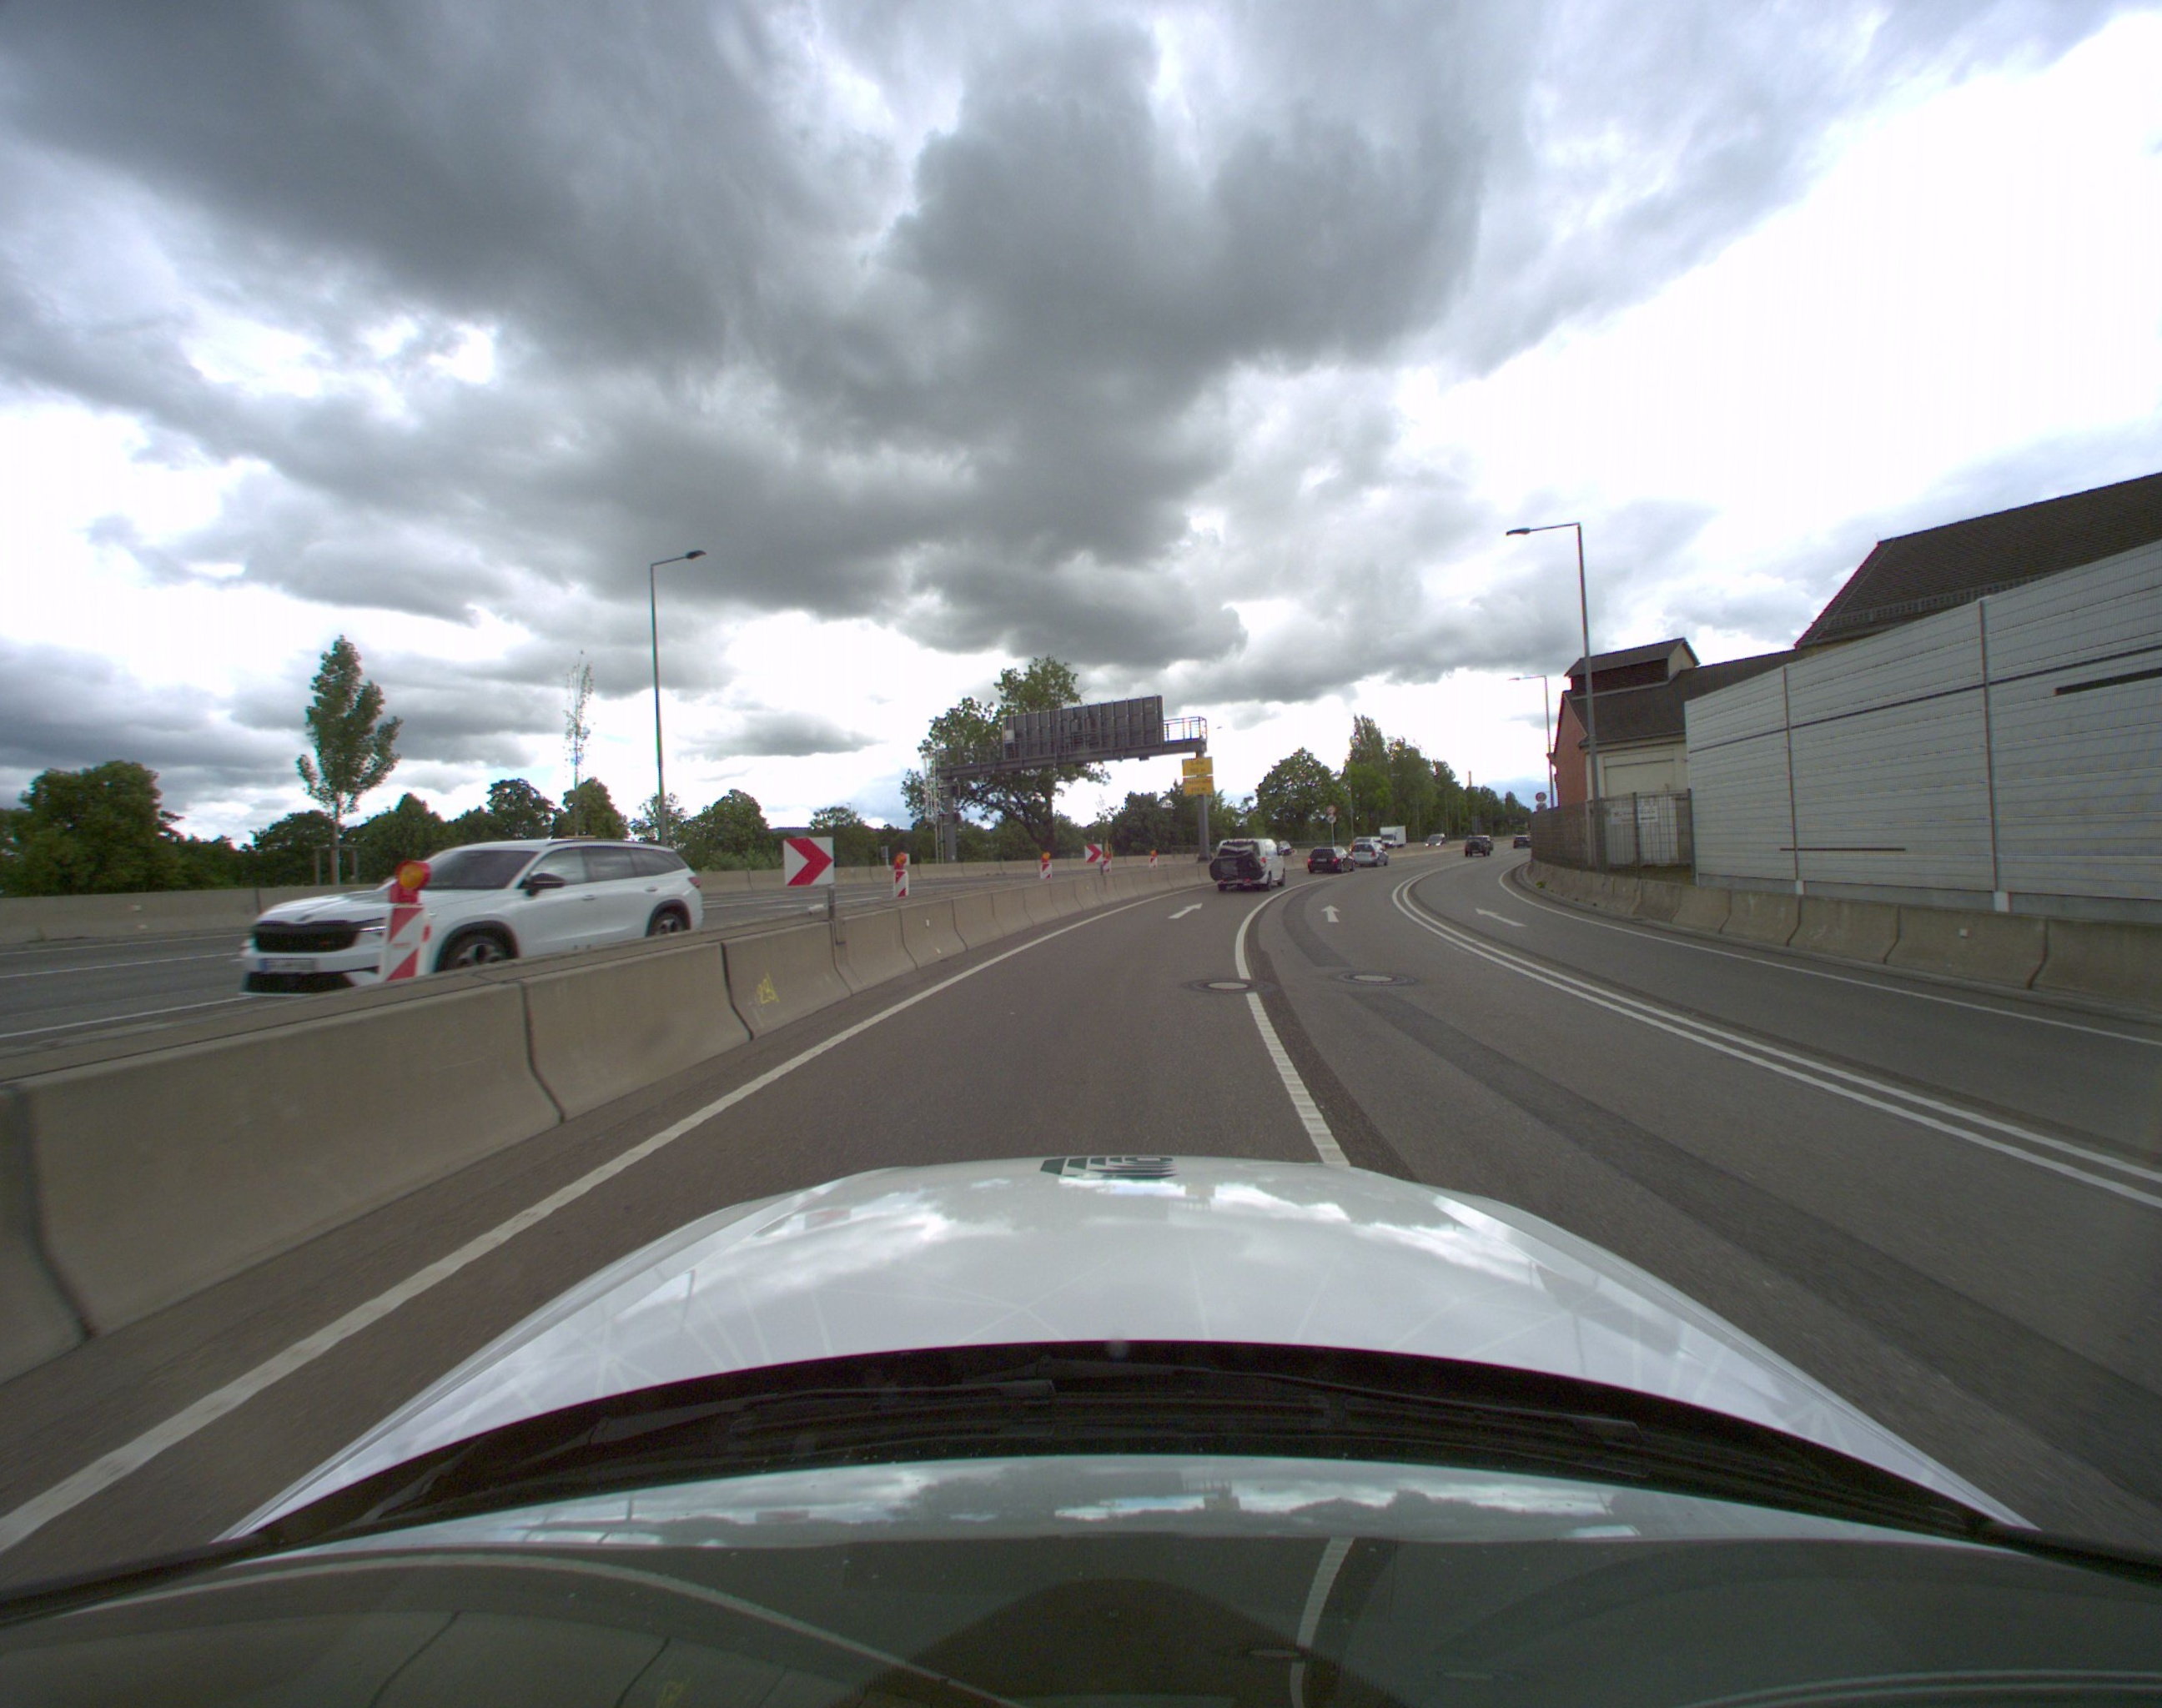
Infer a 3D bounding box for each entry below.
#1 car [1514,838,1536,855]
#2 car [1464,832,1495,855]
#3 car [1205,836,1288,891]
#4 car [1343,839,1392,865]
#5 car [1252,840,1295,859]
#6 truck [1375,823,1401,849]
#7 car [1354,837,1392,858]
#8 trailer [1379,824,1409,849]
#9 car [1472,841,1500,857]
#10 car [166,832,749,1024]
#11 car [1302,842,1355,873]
[{"bbox_3d":[51.768,-0.864,94.944,1.974,1.904,4.025,-2,-1,31],"label":"car"},{"bbox_3d":[33.712,-0.879,68.825,1.974,1.860,4.025,-2,-1,30],"label":"car"},{"bbox_3d":[6.257,0.290,30.289,1.975,1.859,5.671,0,0,22],"label":"car"},{"bbox_3d":[18.354,-0.137,52.054,1.902,1.488,4.091,-2,0,34],"label":"car"},{"bbox_3d":[17.340,-0.405,73.202,1.974,1.672,4.758,0,1,36],"label":"car"},{"bbox_3d":[38.615,-2.237,102.385,2.250,3.114,3.006,0,0,35],"label":"truck"},{"bbox_3d":[26.107,-0.630,72.663,1.932,1.806,5.830,0,1,33],"label":"car"},{"bbox_3d":[40.312,-2.271,104.796,2.250,3.137,5.748,0,1,34],"label":"trailer"},{"bbox_3d":[43.402,-0.495,87.228,1.974,1.673,4.026,0,0,37],"label":"car"},{"bbox_3d":[-6.259,0.578,9.275,2.084,1.552,5.158,-1,1,11],"label":"car"},{"bbox_3d":[13.431,0.162,44.033,1.797,1.434,4.091,-3,0,30],"label":"car"}]
